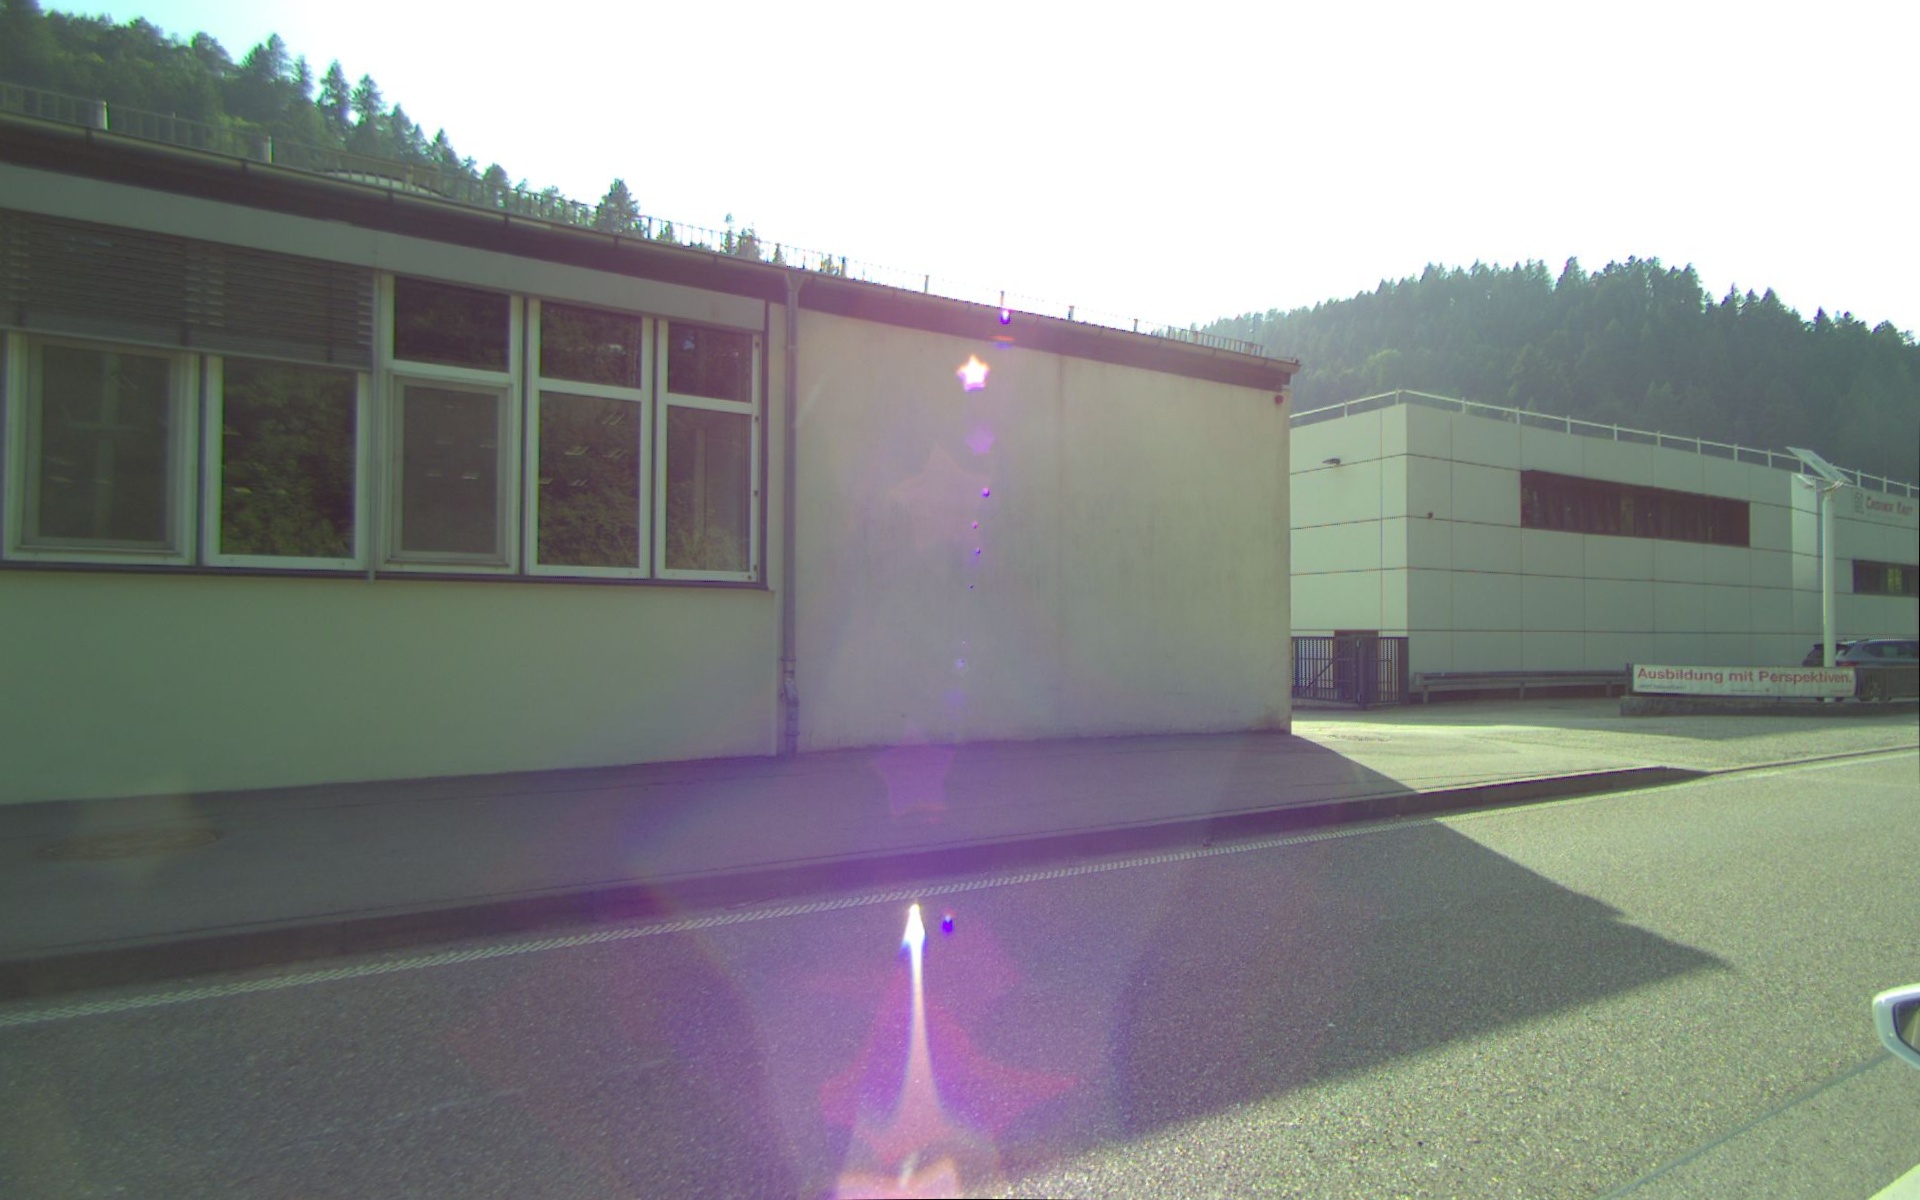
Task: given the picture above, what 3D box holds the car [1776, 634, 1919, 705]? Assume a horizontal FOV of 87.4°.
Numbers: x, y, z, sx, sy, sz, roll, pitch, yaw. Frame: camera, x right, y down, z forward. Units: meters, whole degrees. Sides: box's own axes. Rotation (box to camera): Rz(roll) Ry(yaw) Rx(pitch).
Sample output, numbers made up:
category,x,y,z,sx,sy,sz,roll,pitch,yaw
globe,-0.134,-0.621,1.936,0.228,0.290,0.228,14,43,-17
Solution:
category,x,y,z,sx,sy,sz,roll,pitch,yaw
car,22.898,1.703,24.596,4.090,1.613,1.890,1,-1,12
